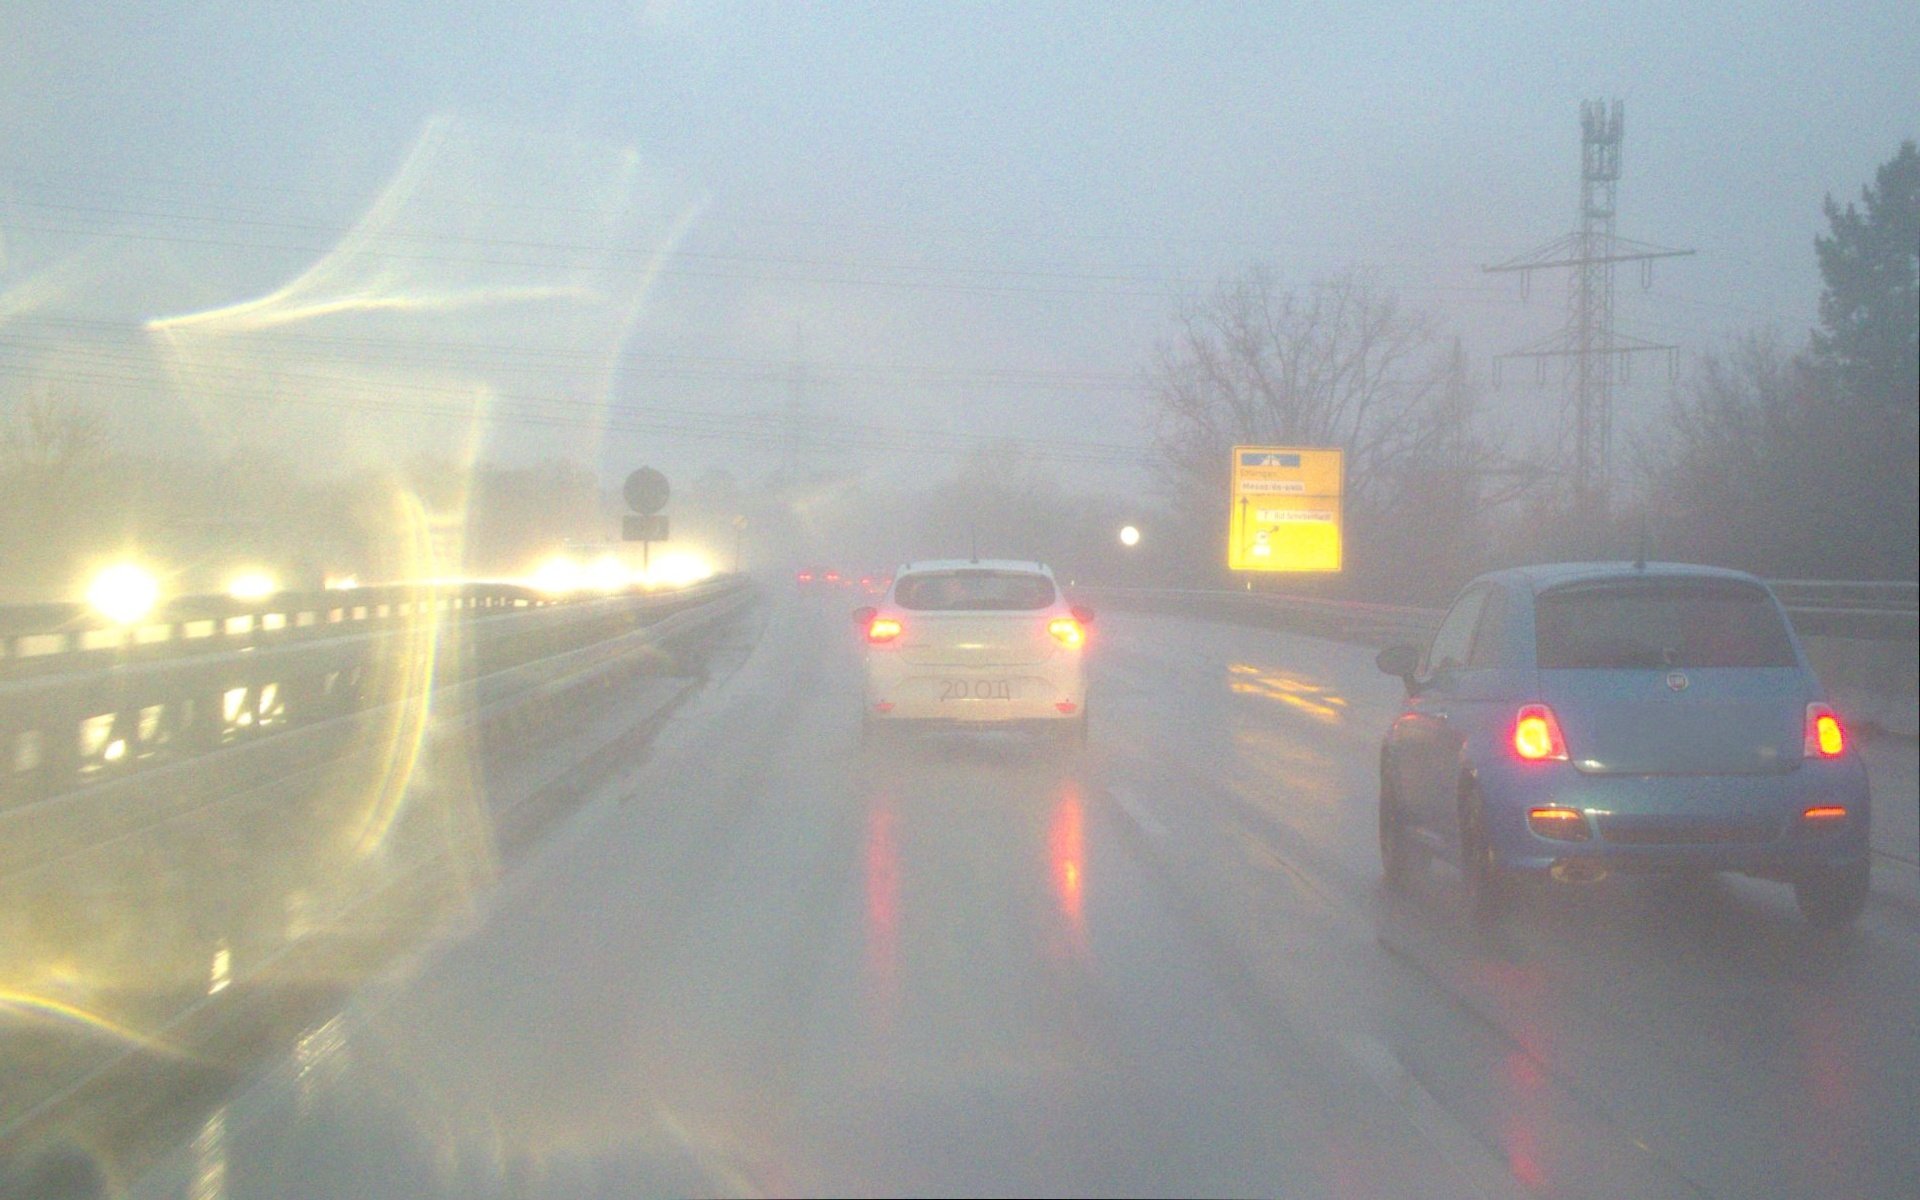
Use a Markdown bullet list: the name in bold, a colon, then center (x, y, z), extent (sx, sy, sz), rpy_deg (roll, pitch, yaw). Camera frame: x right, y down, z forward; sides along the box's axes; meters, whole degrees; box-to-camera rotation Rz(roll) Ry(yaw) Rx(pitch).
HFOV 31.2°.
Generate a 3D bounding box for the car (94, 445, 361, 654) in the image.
- **car**: center (-8.289, -0.590, 39.371), extent (1.993, 2.207, 5.053), rpy_deg (1, 1, 0)

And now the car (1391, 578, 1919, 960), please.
- **car**: center (3.200, 0.675, 16.058), extent (1.845, 1.448, 4.149), rpy_deg (0, 2, 0)

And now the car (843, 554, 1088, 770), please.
- **car**: center (0.018, 0.467, 27.997), extent (1.845, 1.630, 3.768), rpy_deg (0, 0, -1)
